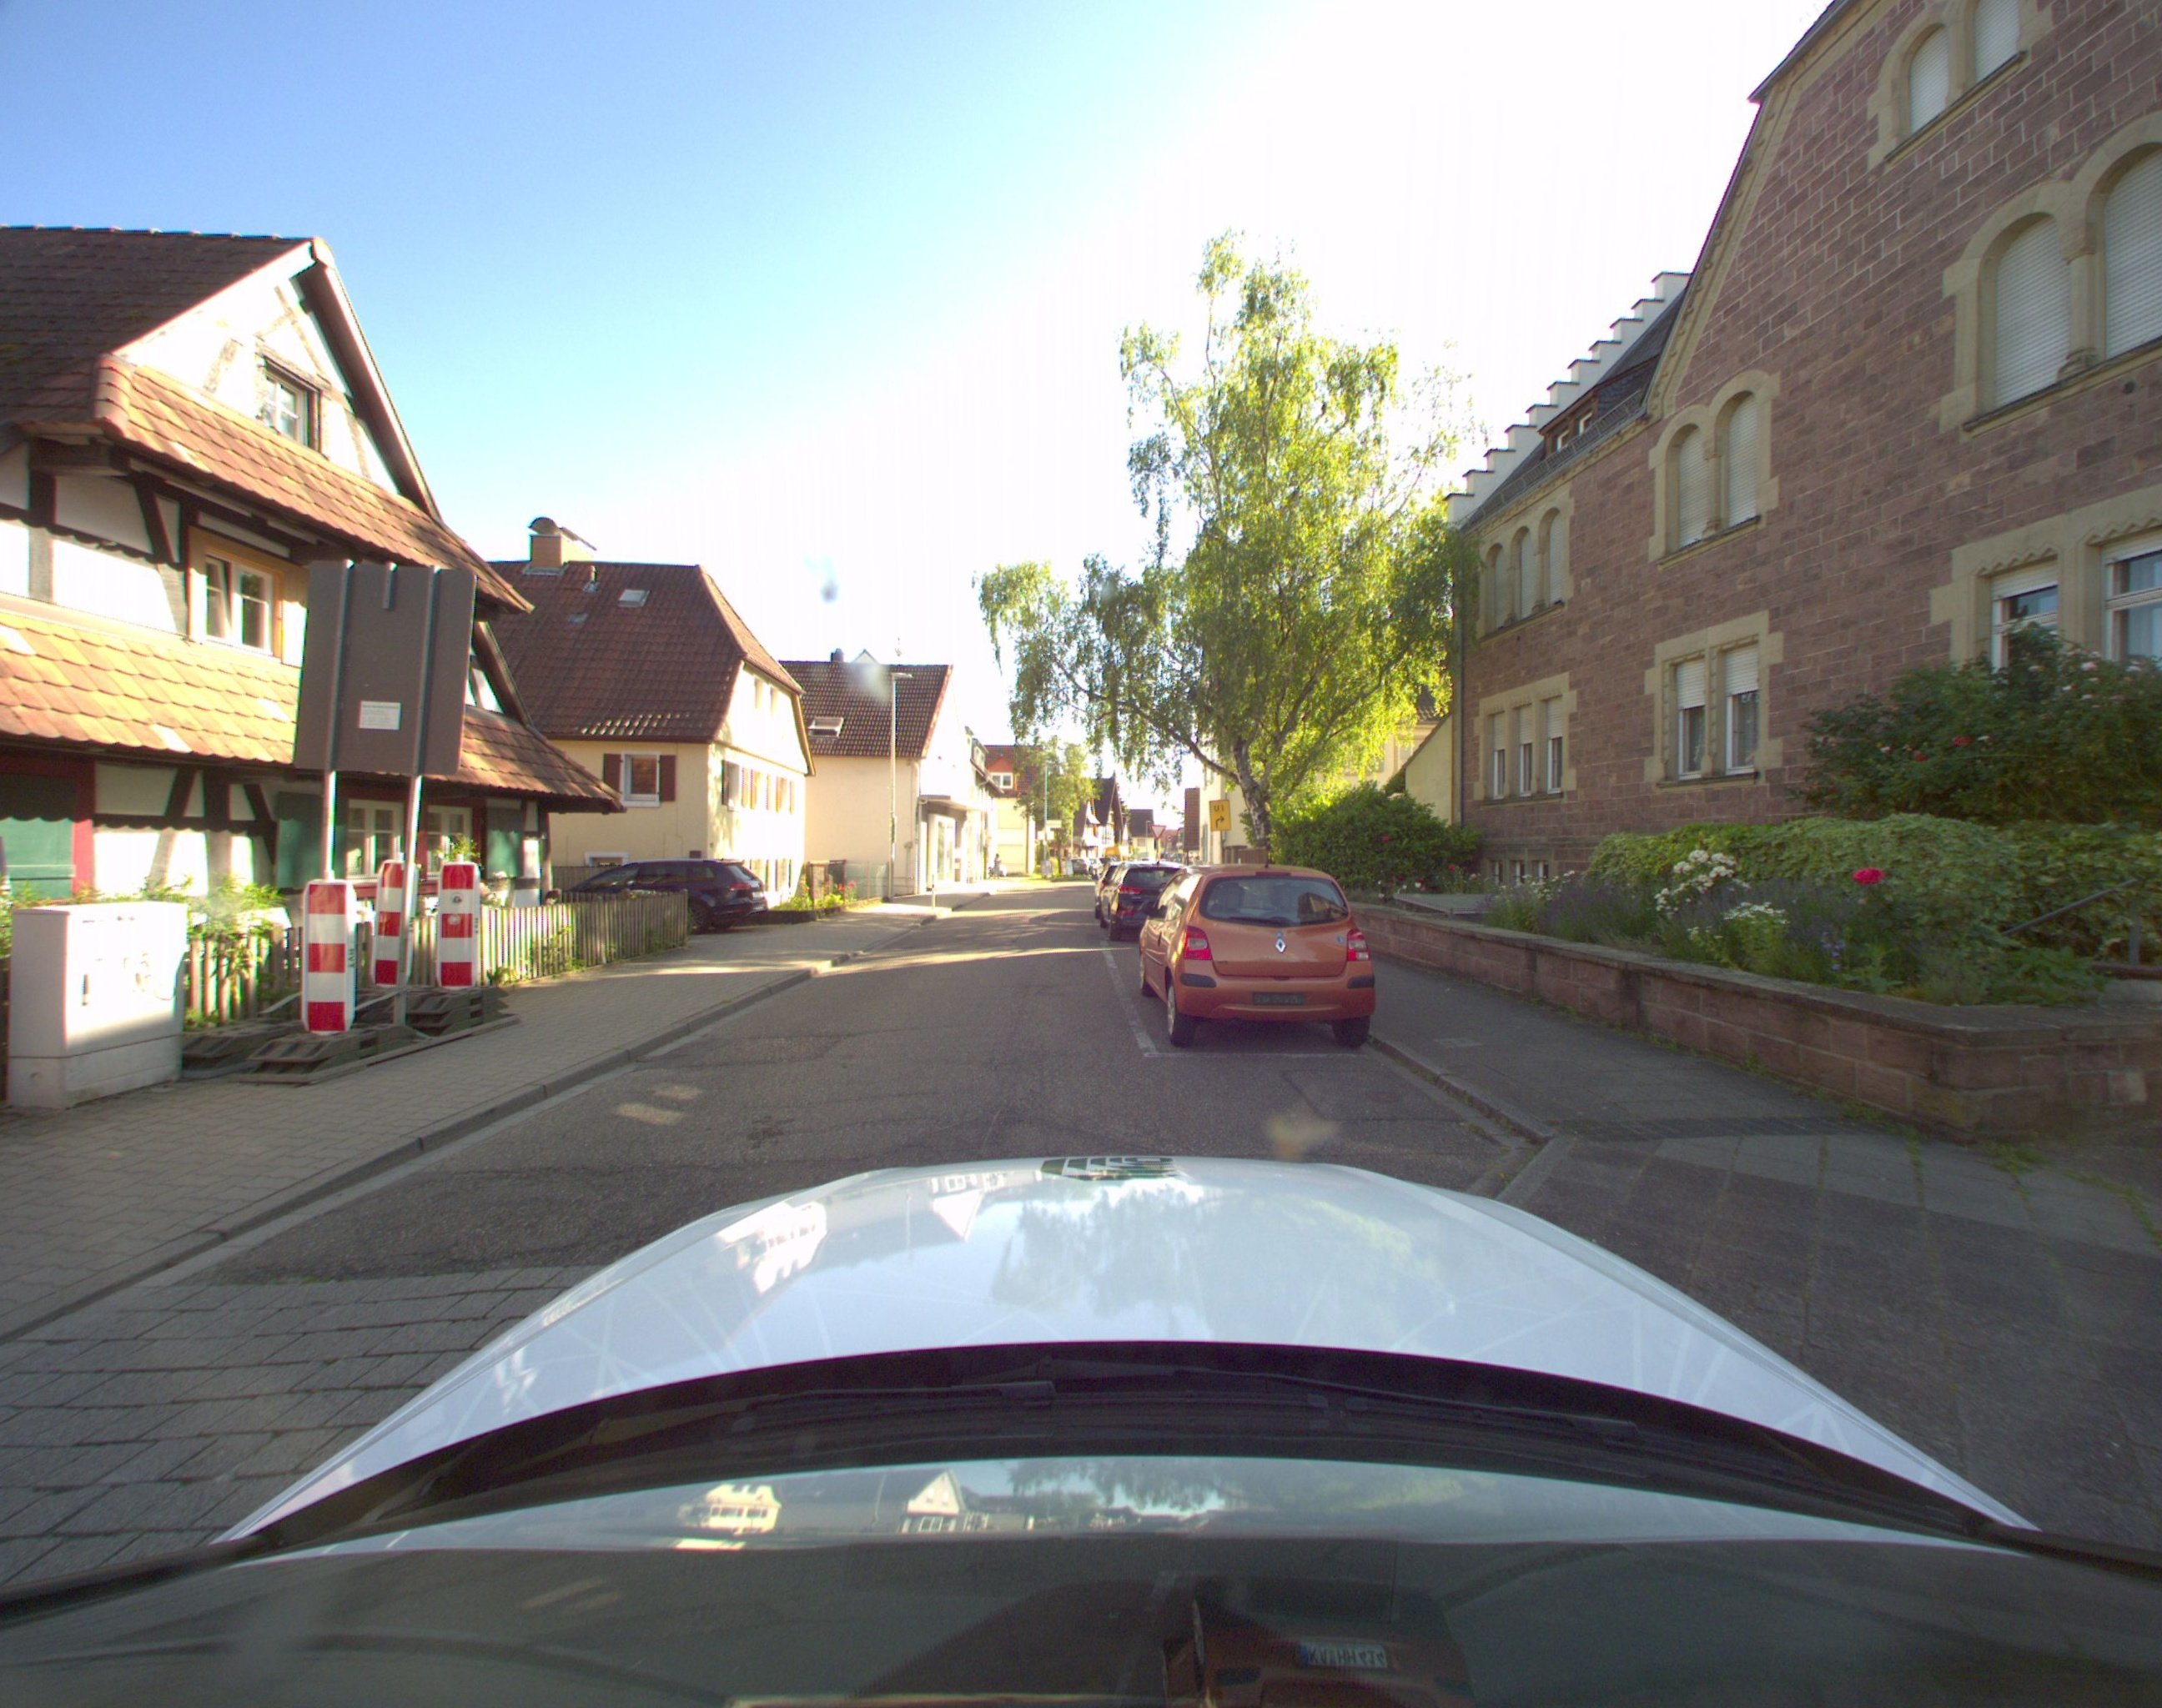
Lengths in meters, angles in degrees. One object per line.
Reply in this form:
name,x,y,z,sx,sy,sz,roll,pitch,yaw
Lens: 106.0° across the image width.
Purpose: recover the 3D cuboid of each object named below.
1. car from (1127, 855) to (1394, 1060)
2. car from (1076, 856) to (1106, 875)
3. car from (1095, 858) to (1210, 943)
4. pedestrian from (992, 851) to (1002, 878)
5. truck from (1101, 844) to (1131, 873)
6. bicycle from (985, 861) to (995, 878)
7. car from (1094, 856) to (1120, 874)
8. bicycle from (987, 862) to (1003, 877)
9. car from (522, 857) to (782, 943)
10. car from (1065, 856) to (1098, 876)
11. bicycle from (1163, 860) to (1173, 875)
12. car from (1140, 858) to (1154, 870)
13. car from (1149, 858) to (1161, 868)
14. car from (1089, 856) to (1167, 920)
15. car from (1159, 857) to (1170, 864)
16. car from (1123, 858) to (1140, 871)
car,1.450,0.776,8.011,1.644,1.479,3.931,1,0,-2
car,0.865,0.972,68.705,1.795,1.506,4.119,0,-1,10
car,1.298,0.833,16.465,1.803,1.436,4.282,1,0,-2
pedestrian,-5.415,0.674,52.684,0.481,1.693,0.557,1,-2,5
truck,3.580,0.498,82.957,2.254,2.868,5.799,0,-1,11
bicycle,-5.842,1.018,52.527,0.421,1.052,1.382,0,-2,2
car,2.500,1.027,77.515,1.795,1.622,3.892,0,-1,10
bicycle,-5.879,1.065,55.945,0.575,1.052,2.041,0,-1,9
car,-8.411,0.864,16.307,4.151,1.462,1.845,-2,0,-5
car,0.071,0.942,64.372,1.856,1.506,4.119,0,-1,10
bicycle,6.989,1.074,65.269,0.430,1.176,1.837,0,0,18
car,8.557,1.246,104.868,1.579,1.443,3.622,1,0,8
car,10.655,1.276,116.639,1.579,1.443,3.622,1,0,8
car,1.185,0.806,21.194,1.800,1.436,4.288,1,0,2
car,20.200,1.602,197.106,1.969,1.583,3.989,1,0,-4
car,5.667,1.205,91.836,1.636,1.433,3.622,1,0,8
